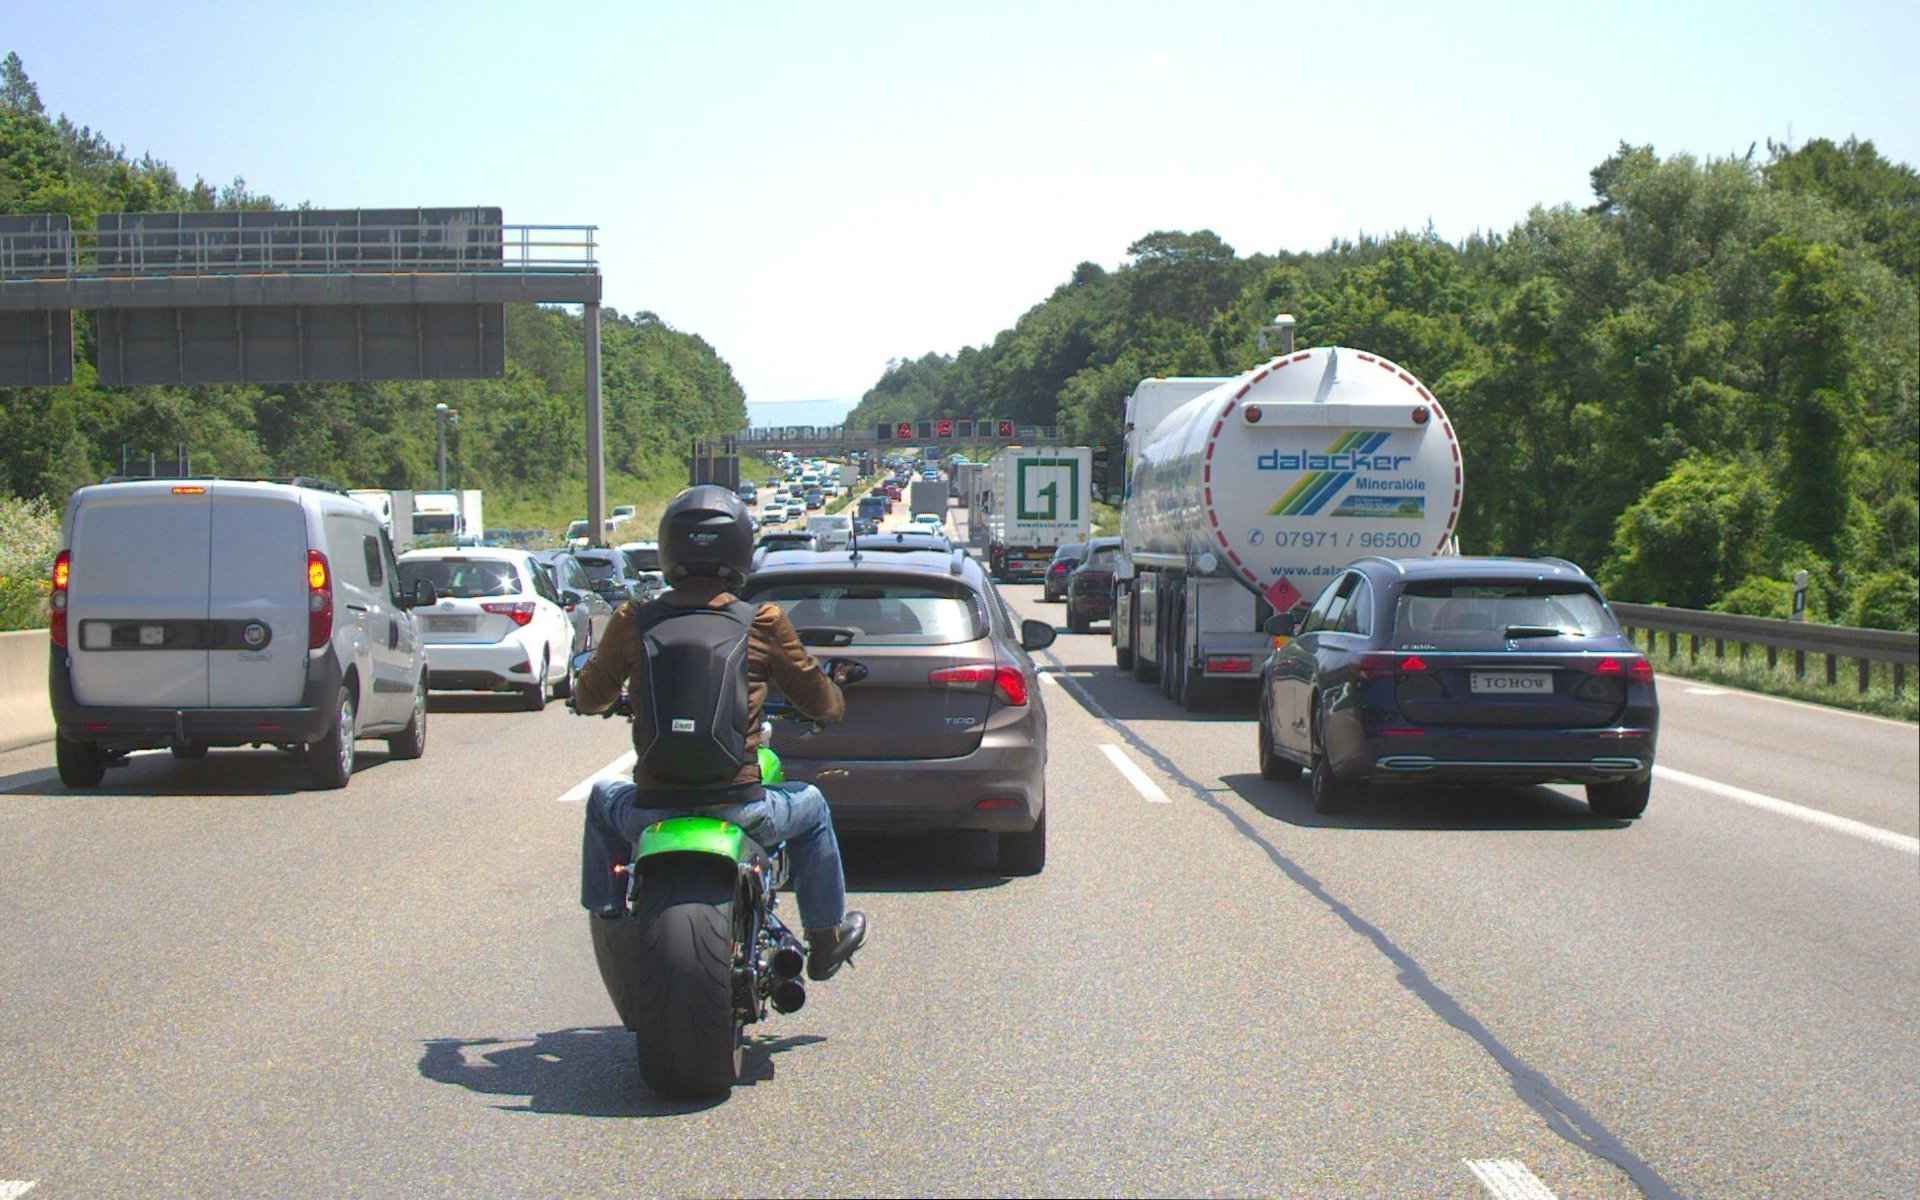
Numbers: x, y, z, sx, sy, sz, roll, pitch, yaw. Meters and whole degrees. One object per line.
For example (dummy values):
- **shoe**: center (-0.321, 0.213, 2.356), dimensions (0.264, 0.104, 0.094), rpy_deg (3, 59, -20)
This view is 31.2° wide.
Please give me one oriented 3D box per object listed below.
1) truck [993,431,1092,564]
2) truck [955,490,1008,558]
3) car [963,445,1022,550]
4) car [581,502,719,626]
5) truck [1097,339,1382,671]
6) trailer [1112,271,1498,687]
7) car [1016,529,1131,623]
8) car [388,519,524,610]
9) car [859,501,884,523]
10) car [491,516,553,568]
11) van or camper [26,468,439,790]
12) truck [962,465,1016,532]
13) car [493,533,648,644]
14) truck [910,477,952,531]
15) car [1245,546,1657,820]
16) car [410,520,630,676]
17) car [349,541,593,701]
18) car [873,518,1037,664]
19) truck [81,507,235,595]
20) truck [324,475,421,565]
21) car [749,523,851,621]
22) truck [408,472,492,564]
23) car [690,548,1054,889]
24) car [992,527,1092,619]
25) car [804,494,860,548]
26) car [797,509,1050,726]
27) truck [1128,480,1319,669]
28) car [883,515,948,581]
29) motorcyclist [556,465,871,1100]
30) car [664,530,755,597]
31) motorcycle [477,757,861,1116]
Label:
- **truck**: center (2.551, -3.058, 104.545), dimensions (2.854, 3.808, 7.187), rpy_deg (1, 0, 2)
- **truck**: center (0.703, -2.457, 111.821), dimensions (1.591, 2.104, 3.751), rpy_deg (1, 0, 2)
- **car**: center (1.246, -3.993, 136.781), dimensions (2.167, 3.879, 9.330), rpy_deg (1, 0, 0)
- **car**: center (-5.196, -0.586, 58.077), dimensions (1.993, 2.007, 4.000), rpy_deg (1, 0, -1)
- **truck**: center (3.245, -1.062, 41.549), dimensions (2.828, 3.658, 6.429), rpy_deg (1, 0, 0)
- **trailer**: center (3.296, -1.076, 35.856), dimensions (2.828, 3.658, 10.732), rpy_deg (1, 0, 0)
- **car**: center (1.890, -0.399, 58.276), dimensions (1.776, 1.522, 4.000), rpy_deg (1, 0, 0)
- **car**: center (-8.536, -0.617, 58.523), dimensions (1.824, 1.489, 4.000), rpy_deg (0, 1, -1)
- **car**: center (-6.632, -6.597, 257.295), dimensions (1.770, 1.550, 4.000), rpy_deg (0, 1, 0)
- **car**: center (-16.248, -2.152, 127.658), dimensions (1.784, 1.831, 4.294), rpy_deg (1, 0, -1)
- **van or camper**: center (-4.637, 0.116, 22.555), dimensions (1.853, 1.874, 4.562), rpy_deg (1, 1, -2)
- **truck**: center (1.507, -5.348, 183.095), dimensions (2.696, 3.394, 10.479), rpy_deg (0, 1, 0)
- **car**: center (-5.395, -0.160, 48.049), dimensions (1.993, 1.459, 4.001), rpy_deg (1, 0, -4)
- **truck**: center (-1.924, -6.394, 230.204), dimensions (2.696, 3.394, 10.479), rpy_deg (0, 1, 0)
- **car**: center (2.838, 0.448, 20.834), dimensions (1.792, 1.453, 4.624), rpy_deg (1, 0, 0)
- **car**: center (-5.028, -0.023, 39.824), dimensions (1.993, 1.678, 4.330), rpy_deg (1, 0, 0)
- **car**: center (-4.591, 0.188, 32.778), dimensions (1.776, 1.406, 4.000), rpy_deg (1, 0, 0)
- **car**: center (-0.103, -0.112, 44.067), dimensions (1.993, 1.769, 4.000), rpy_deg (1, 0, -1)
- **truck**: center (-19.317, -1.151, 83.132), dimensions (2.351, 2.007, 6.493), rpy_deg (1, 0, -1)
- **truck**: center (-19.702, -2.642, 115.501), dimensions (2.177, 2.875, 6.743), rpy_deg (1, 0, -1)
- **car**: center (-3.394, -0.589, 73.419), dimensions (1.993, 2.007, 4.000), rpy_deg (1, 0, 0)
- **truck**: center (-23.340, -3.717, 157.658), dimensions (2.692, 3.976, 7.990), rpy_deg (1, 0, 0)
- **car**: center (-0.391, 0.478, 16.742), dimensions (1.541, 1.445, 4.000), rpy_deg (1, 1, 0)
- **car**: center (1.811, -0.595, 77.299), dimensions (1.993, 2.007, 4.000), rpy_deg (1, 0, -2)
- **car**: center (-4.871, -3.005, 131.412), dimensions (1.993, 2.007, 4.000), rpy_deg (0, 1, 0)
- **car**: center (-0.334, 0.141, 29.336), dimensions (1.993, 1.705, 4.000), rpy_deg (1, 0, -1)
- **truck**: center (4.371, -0.476, 58.463), dimensions (2.388, 2.969, 8.253), rpy_deg (0, 1, -1)
- **car**: center (-1.394, -1.638, 108.372), dimensions (1.993, 2.007, 4.000), rpy_deg (0, 1, -1)
- **motorcyclist**: center (-0.671, 0.486, 9.664), dimensions (0.799, 1.682, 1.016), rpy_deg (1, 0, 0)
- **car**: center (-5.649, -0.808, 77.883), dimensions (1.764, 1.437, 4.000), rpy_deg (1, 0, 0)
- **motorcycle**: center (-0.788, 0.926, 10.061), dimensions (0.936, 0.790, 2.299), rpy_deg (1, 1, 0)
